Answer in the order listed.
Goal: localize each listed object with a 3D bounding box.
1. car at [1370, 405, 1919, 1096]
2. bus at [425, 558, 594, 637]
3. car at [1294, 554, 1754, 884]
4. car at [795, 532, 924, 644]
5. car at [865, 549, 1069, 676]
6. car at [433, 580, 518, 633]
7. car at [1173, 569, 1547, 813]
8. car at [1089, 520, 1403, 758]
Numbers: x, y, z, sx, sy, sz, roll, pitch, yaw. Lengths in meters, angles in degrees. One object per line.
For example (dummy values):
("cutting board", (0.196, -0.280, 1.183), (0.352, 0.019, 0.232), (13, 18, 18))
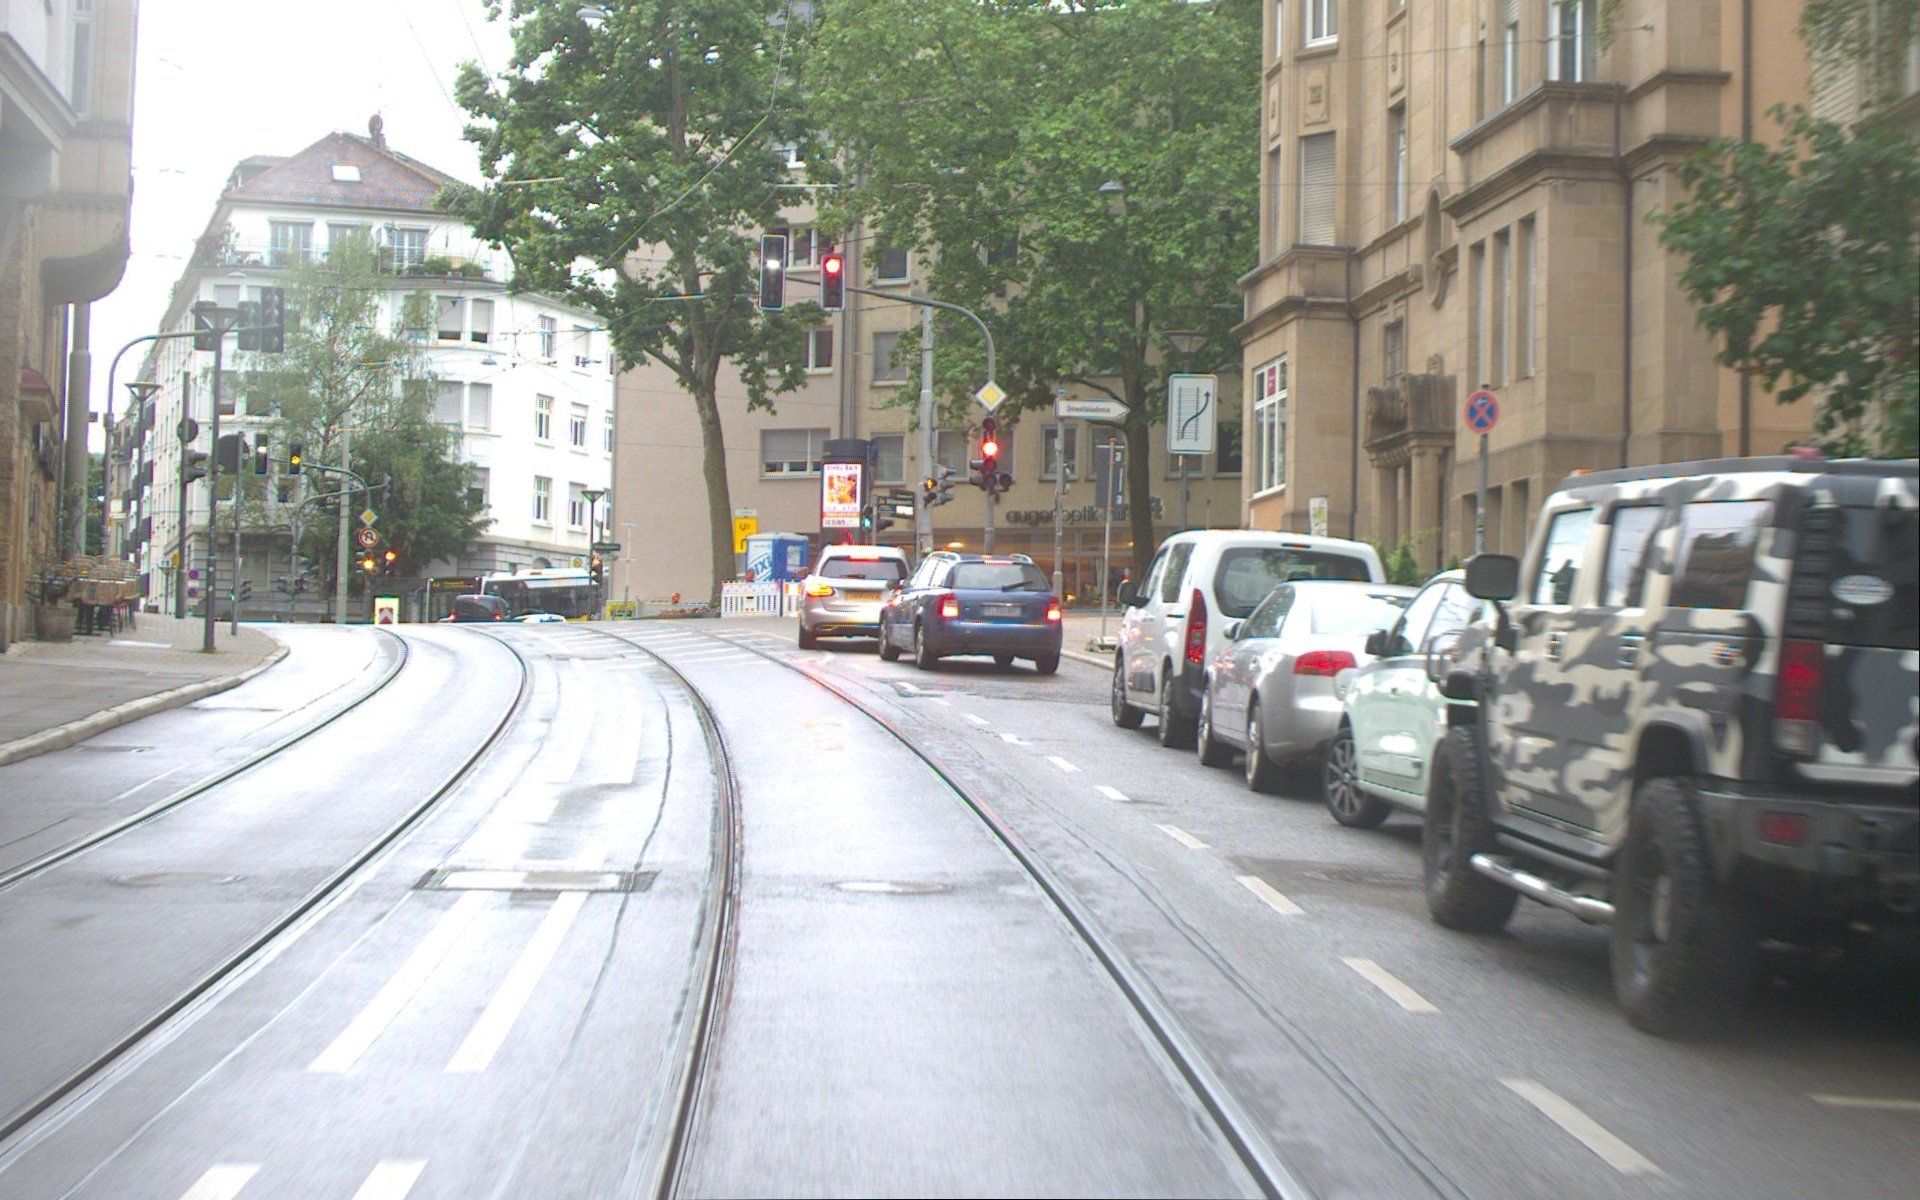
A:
("car", (3.172, 0.445, 12.854), (2.128, 2.007, 5.351), (4, 1, -5))
("bus", (-17.267, -0.151, 132.371), (2.857, 2.851, 8.725), (1, 1, 19))
("car", (3.008, 0.577, 19.035), (1.560, 1.541, 3.585), (4, 1, -5))
("car", (-1.465, -0.196, 49.121), (1.710, 1.451, 3.553), (2, 1, -3))
("car", (0.037, 0.123, 43.293), (1.710, 1.410, 4.038), (2, 1, -12))
("car", (-14.853, 0.192, 105.503), (1.794, 1.505, 4.000), (-1, 1, 3))
("car", (2.666, 0.555, 23.950), (1.748, 1.396, 4.479), (4, 1, -3))
("car", (2.329, 0.264, 29.162), (1.797, 1.759, 4.464), (4, 1, -5))
